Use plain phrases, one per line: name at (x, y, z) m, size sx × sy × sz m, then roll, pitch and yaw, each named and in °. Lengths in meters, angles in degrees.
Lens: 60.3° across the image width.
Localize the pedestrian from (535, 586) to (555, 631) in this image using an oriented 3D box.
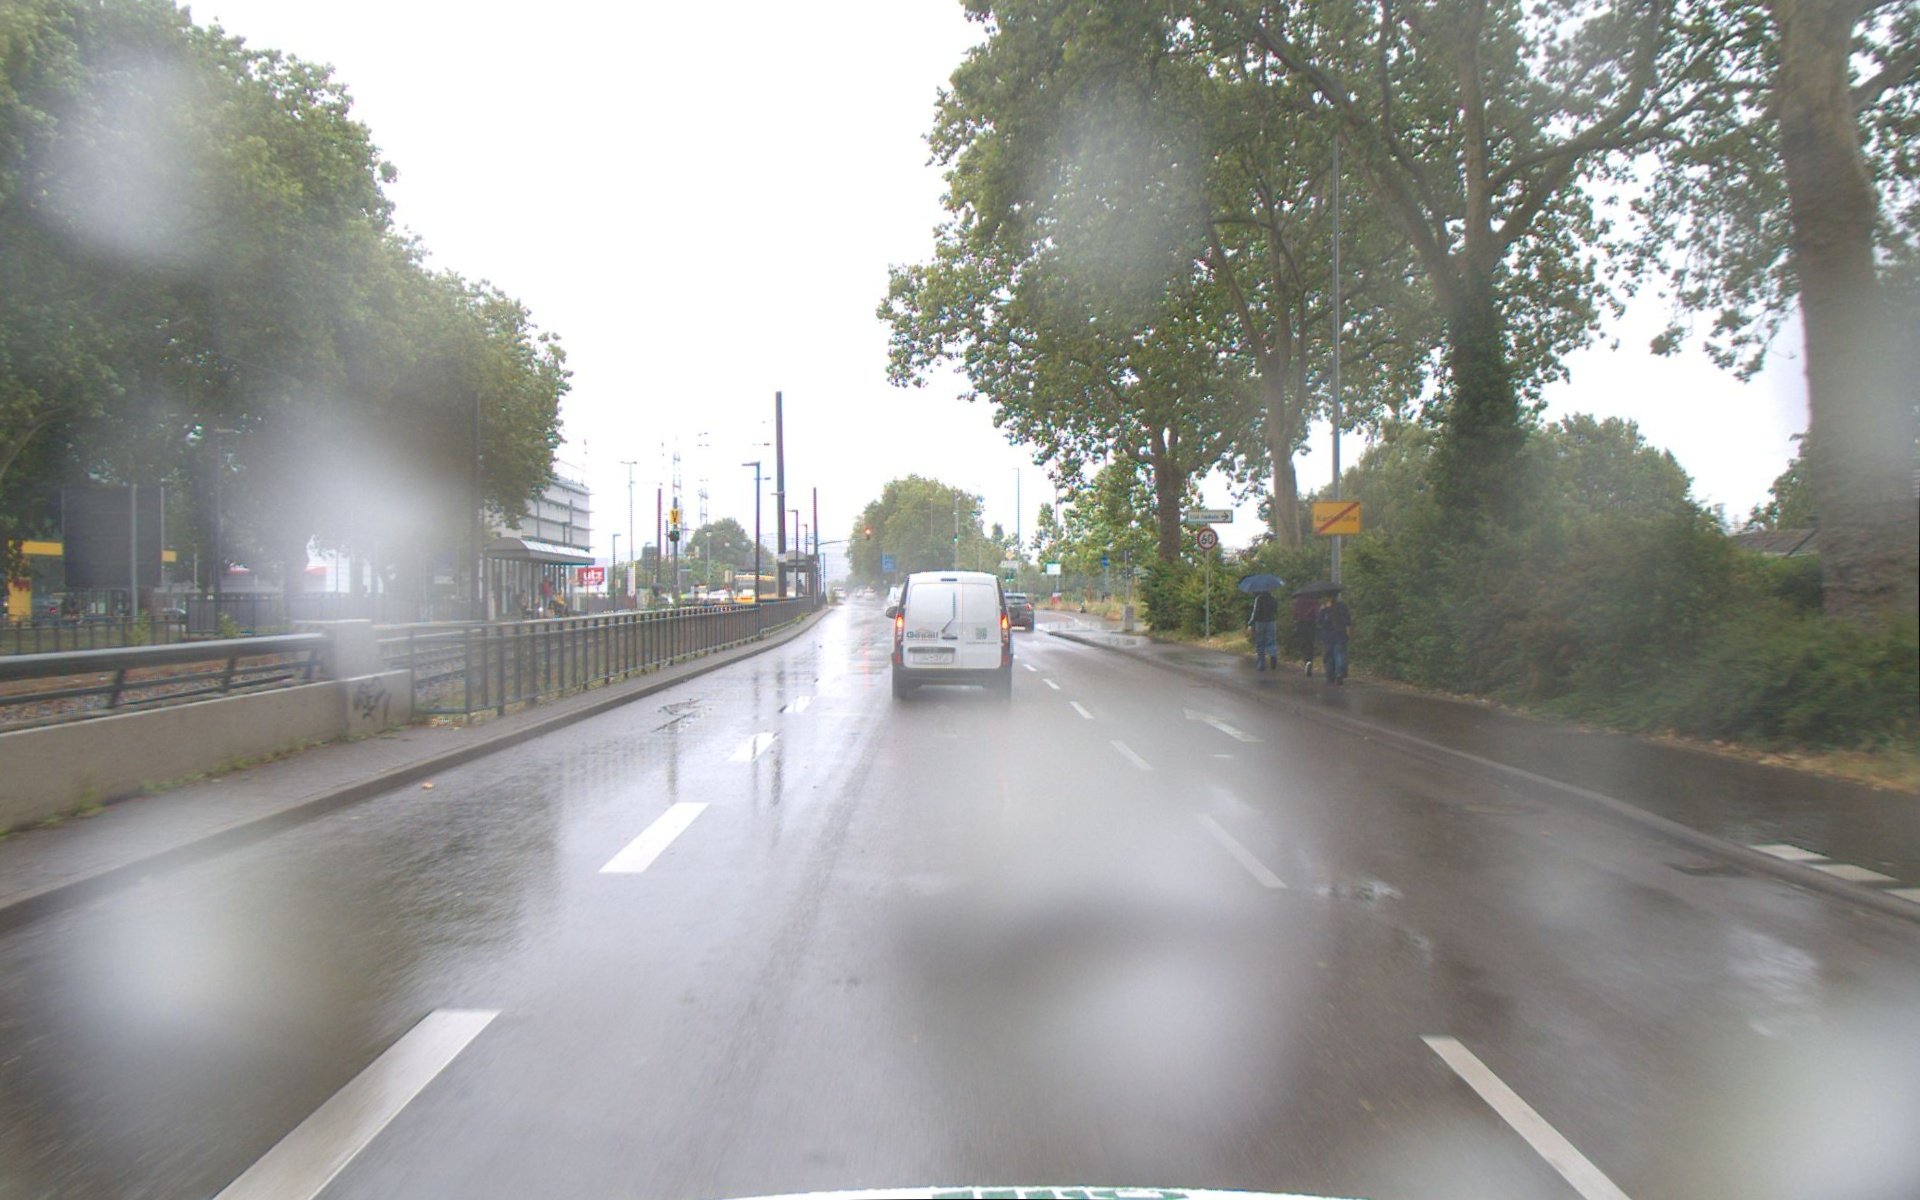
pedestrian at (-18.520, 0.393, 73.796) m, size 0.608 × 1.967 × 0.814 m, roll 2°, pitch -1°, yaw 2°

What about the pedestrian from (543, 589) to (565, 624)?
pedestrian at (-18.912, 0.292, 76.973) m, size 0.815 × 1.589 × 0.667 m, roll 2°, pitch -1°, yaw -28°

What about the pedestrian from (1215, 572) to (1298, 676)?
pedestrian at (5.491, 0.442, 30.716) m, size 1.215 × 1.817 × 1.147 m, roll -4°, pitch -1°, yaw -1°

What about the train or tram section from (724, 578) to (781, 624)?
train or tram section at (-20.577, 0.289, 166.090) m, size 3.695 × 4.107 × 27.072 m, roll 2°, pitch -1°, yaw -3°

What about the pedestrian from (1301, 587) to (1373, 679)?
pedestrian at (6.040, 0.531, 26.556) m, size 0.874 × 1.415 × 1.016 m, roll -2°, pitch -1°, yaw -1°

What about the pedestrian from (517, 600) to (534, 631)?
pedestrian at (-18.311, 0.638, 69.645) m, size 0.483 × 1.290 × 0.664 m, roll 2°, pitch -1°, yaw 2°

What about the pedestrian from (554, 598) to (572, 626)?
pedestrian at (-19.073, 0.596, 79.470) m, size 0.629 × 1.326 × 0.814 m, roll 2°, pitch -1°, yaw 2°

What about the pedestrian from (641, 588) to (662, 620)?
pedestrian at (-20.709, 0.267, 111.056) m, size 1.065 × 2.049 × 1.096 m, roll 2°, pitch -1°, yaw 1°

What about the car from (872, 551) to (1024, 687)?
car at (-0.274, 0.289, 24.828) m, size 1.985 × 1.806 × 4.270 m, roll 2°, pitch -1°, yaw -4°

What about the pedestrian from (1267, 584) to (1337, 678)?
pedestrian at (6.059, 0.550, 29.354) m, size 0.927 × 1.617 × 1.293 m, roll -1°, pitch -1°, yaw -1°

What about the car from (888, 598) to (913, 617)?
car at (-5.605, 0.717, 155.404) m, size 1.956 × 1.780 × 3.993 m, roll 2°, pitch -1°, yaw -8°

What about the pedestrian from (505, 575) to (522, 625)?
pedestrian at (-18.254, 0.000, 67.575) m, size 0.483 × 2.049 × 0.582 m, roll 2°, pitch -1°, yaw -1°

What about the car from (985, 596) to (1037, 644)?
car at (1.991, 0.799, 65.505) m, size 1.952 × 1.780 × 4.000 m, roll 2°, pitch -1°, yaw 1°
